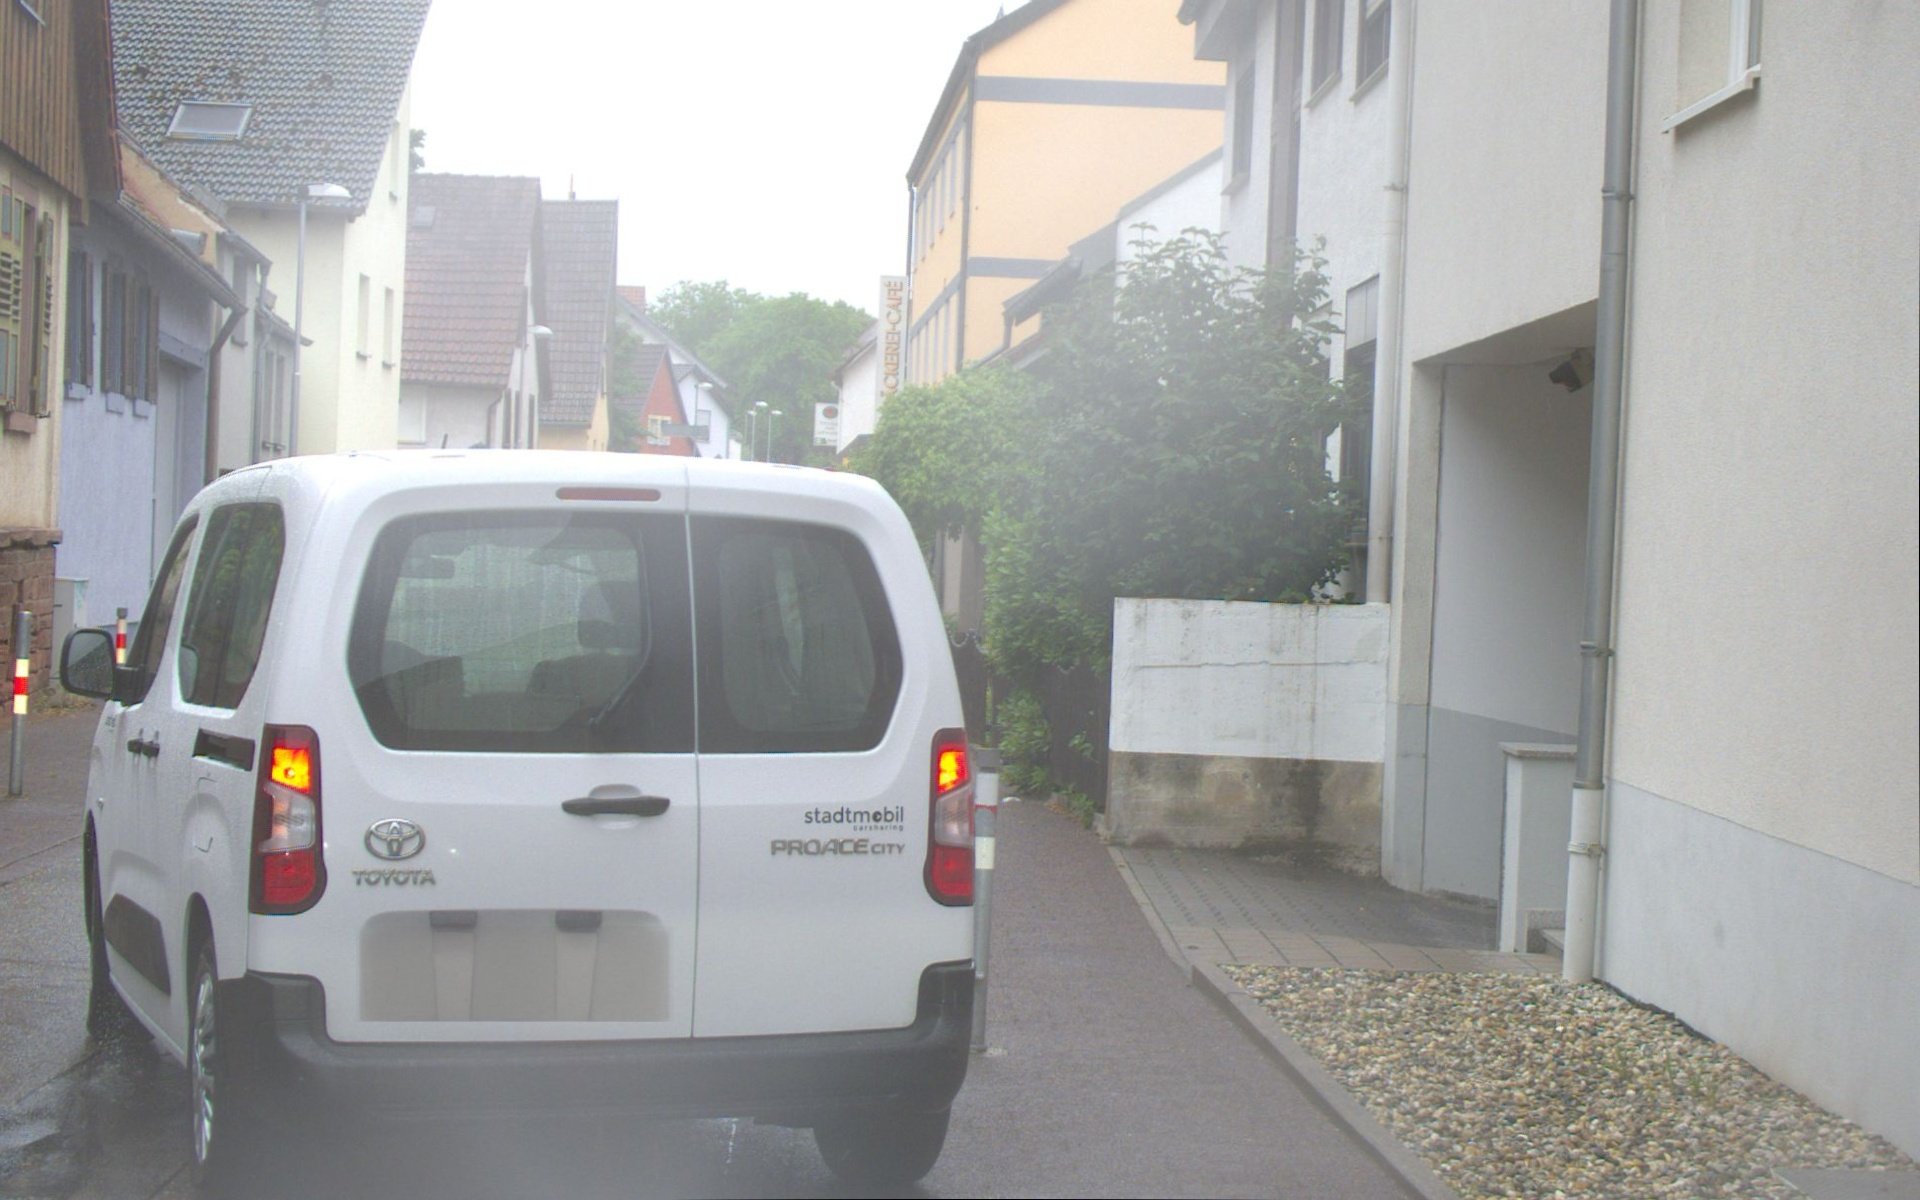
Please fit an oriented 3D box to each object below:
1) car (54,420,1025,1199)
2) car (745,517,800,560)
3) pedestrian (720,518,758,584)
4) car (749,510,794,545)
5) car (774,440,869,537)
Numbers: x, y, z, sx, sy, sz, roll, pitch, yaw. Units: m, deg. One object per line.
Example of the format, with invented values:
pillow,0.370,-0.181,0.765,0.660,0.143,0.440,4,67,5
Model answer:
car,-1.368,0.492,9.333,1.774,1.774,4.001,1,1,-19
car,-7.376,-2.437,135.540,1.993,1.554,3.432,-1,3,-1
pedestrian,-6.434,-1.422,100.016,1.050,1.886,0.877,1,0,-4
car,-8.526,-3.275,155.479,1.589,1.436,3.766,4,1,3
car,-3.032,-2.436,75.778,1.993,2.007,4.000,1,1,-1
